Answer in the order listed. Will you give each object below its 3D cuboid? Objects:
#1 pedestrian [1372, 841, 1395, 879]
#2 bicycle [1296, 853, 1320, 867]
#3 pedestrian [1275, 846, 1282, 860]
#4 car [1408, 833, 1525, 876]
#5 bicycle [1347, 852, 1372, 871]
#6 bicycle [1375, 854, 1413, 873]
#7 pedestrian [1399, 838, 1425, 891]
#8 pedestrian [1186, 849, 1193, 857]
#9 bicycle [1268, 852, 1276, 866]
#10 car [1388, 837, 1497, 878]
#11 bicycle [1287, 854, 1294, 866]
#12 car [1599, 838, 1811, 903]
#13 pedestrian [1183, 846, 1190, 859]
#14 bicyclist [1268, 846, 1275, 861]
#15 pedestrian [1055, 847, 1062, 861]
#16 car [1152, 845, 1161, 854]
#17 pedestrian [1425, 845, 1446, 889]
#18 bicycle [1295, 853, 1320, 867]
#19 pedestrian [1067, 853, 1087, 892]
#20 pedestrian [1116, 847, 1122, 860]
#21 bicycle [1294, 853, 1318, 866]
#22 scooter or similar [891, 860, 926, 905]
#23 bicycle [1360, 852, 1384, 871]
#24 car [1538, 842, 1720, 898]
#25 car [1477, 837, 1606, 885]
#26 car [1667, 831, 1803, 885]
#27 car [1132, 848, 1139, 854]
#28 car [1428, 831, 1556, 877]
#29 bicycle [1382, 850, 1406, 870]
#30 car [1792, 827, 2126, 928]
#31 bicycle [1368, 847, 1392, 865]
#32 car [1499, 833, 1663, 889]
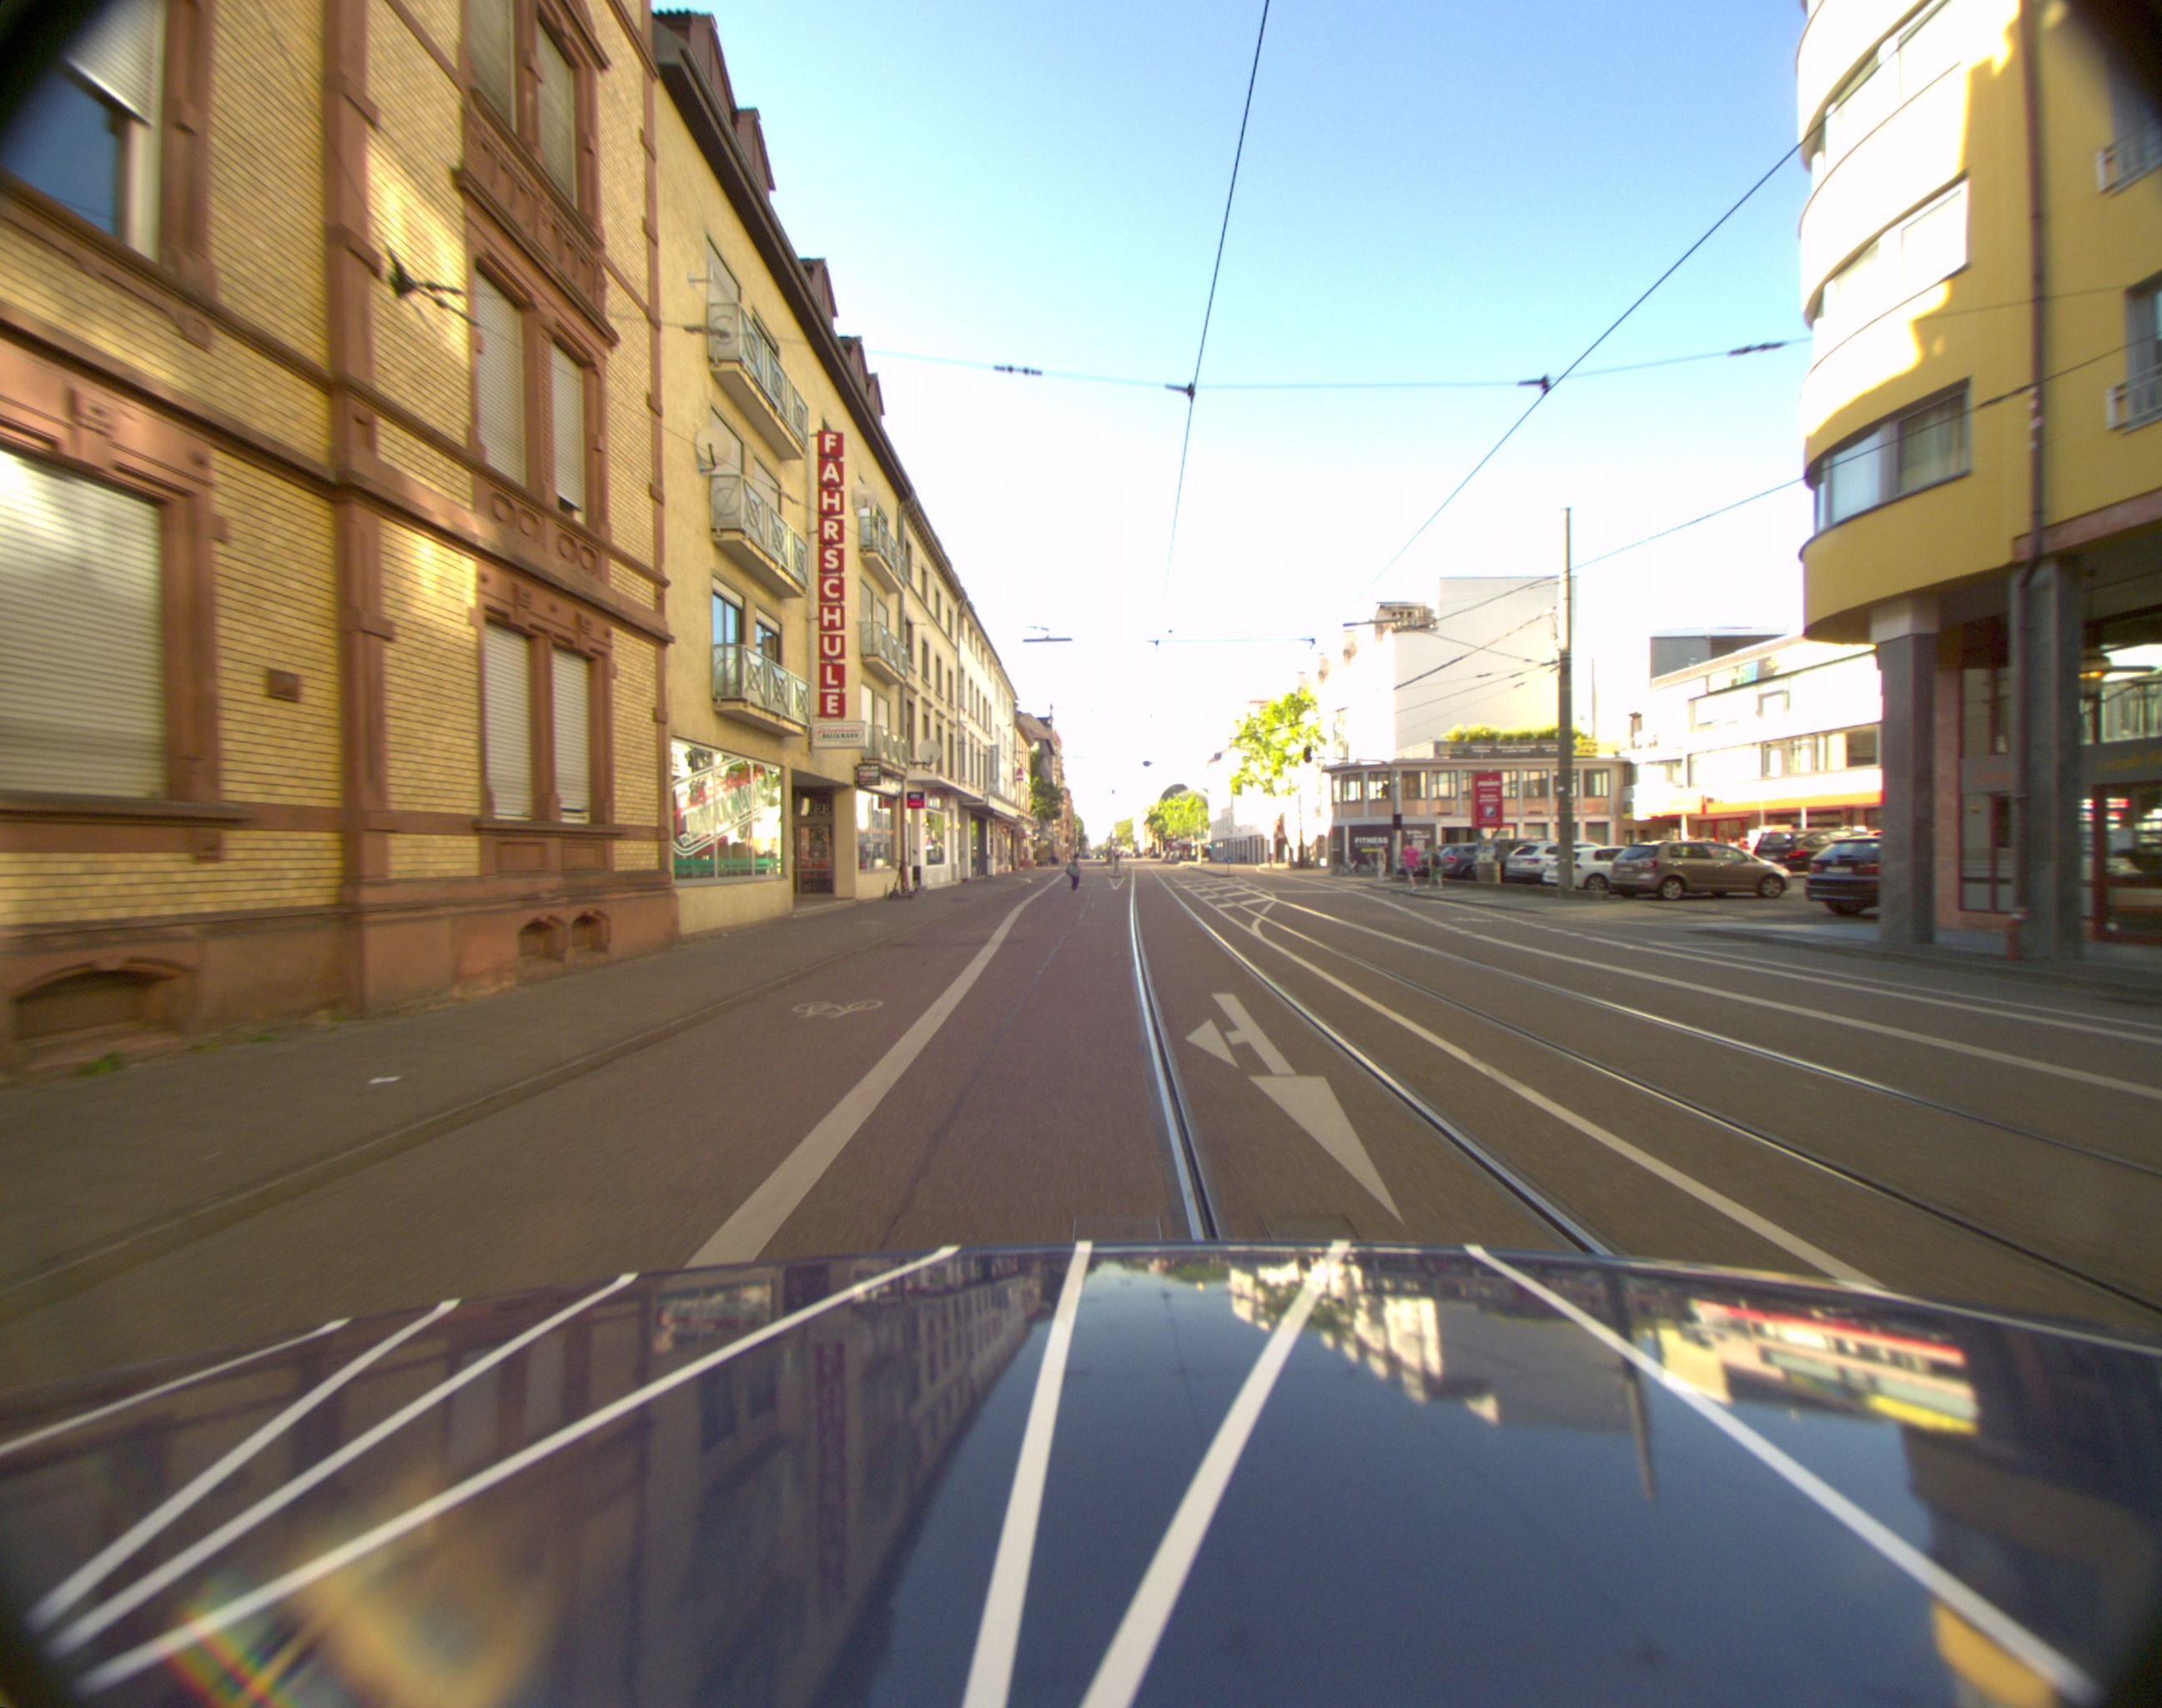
[{"bbox_3d":[14.083,0.266,35.407,0.715,1.754,0.779,-1,1,-6],"label":"pedestrian"},{"bbox_3d":[18.623,0.485,62.428,1.876,1.071,0.465,-1,1,10],"label":"bicycle"},{"bbox_3d":[23.684,-0.108,91.068,0.747,1.635,0.731,-1,1,2],"label":"pedestrian"},{"bbox_3d":[16.903,0.015,33.485,4.244,1.801,1.785,-1,1,1],"label":"car"},{"bbox_3d":[15.944,0.412,43.516,0.525,1.030,1.878,-1,0,-6],"label":"bicycle"},{"bbox_3d":[17.039,0.503,41.421,1.874,1.030,0.426,0,1,26],"label":"bicycle"},{"bbox_3d":[12.289,0.372,28.200,0.639,1.935,0.709,-1,1,0],"label":"pedestrian"},{"bbox_3d":[14.272,-0.144,99.869,0.794,0.982,0.747,-1,1,2],"label":"pedestrian"},{"bbox_3d":[17.908,0.493,71.230,0.564,1.117,2.005,-11,1,14],"label":"bicycle"},{"bbox_3d":[17.057,0.172,35.992,4.244,1.753,1.785,-2,1,1],"label":"car"},{"bbox_3d":[17.406,0.500,63.114,0.470,0.926,1.755,0,1,11],"label":"bicycle"},{"bbox_3d":[16.753,0.416,20.547,4.244,1.539,1.785,-2,2,1],"label":"car"},{"bbox_3d":[13.306,-0.136,95.866,0.794,1.635,0.747,-1,1,2],"label":"pedestrian"},{"bbox_3d":[17.829,-0.062,71.096,0.563,1.354,0.719,1,4,14],"label":"bicyclist"},{"bbox_3d":[-2.813,0.012,94.147,0.695,1.680,0.688,3,1,1],"label":"pedestrian"},{"bbox_3d":[18.233,-1.171,183.597,1.884,2.001,4.000,-2,-1,0],"label":"car"},{"bbox_3d":[13.151,0.482,28.193,0.573,1.608,0.499,-1,1,0],"label":"pedestrian"},{"bbox_3d":[18.428,0.489,61.915,1.876,1.071,0.465,-1,1,10],"label":"bicycle"},{"bbox_3d":[-0.175,0.737,30.449,0.781,1.551,0.650,-1,1,-2],"label":"pedestrian"},{"bbox_3d":[4.731,-0.104,94.855,0.716,1.635,0.400,-1,1,4],"label":"pedestrian"},{"bbox_3d":[18.788,0.490,63.442,1.876,1.071,0.465,-1,1,10],"label":"bicycle"},{"bbox_3d":[-5.256,0.856,23.226,0.410,1.274,1.285,-1,1,18],"label":"scooter or similar"},{"bbox_3d":[16.548,0.429,43.202,0.464,1.073,1.878,-1,0,-6],"label":"bicycle"},{"bbox_3d":[16.648,0.462,23.232,4.243,1.600,1.785,-1,1,1],"label":"car"},{"bbox_3d":[17.090,0.248,28.327,3.698,1.663,1.785,-1,1,1],"label":"car"},{"bbox_3d":[24.287,0.142,28.300,3.587,1.738,1.695,-4,1,-1],"label":"car"},{"bbox_3d":[16.442,-0.872,228.205,1.998,1.608,4.000,-1,0,2],"label":"car"},{"bbox_3d":[16.662,-0.004,30.956,4.243,1.801,1.785,-1,1,2],"label":"car"},{"bbox_3d":[17.633,0.315,42.839,0.464,1.081,1.878,-1,1,-6],"label":"bicycle"},{"bbox_3d":[16.629,0.421,14.566,4.243,1.801,1.785,0,1,1],"label":"car"},{"bbox_3d":[17.049,0.104,43.327,0.464,1.030,1.878,-1,0,-6],"label":"bicycle"},{"bbox_3d":[16.621,0.198,25.424,4.244,1.802,1.784,0,3,1],"label":"car"}]
